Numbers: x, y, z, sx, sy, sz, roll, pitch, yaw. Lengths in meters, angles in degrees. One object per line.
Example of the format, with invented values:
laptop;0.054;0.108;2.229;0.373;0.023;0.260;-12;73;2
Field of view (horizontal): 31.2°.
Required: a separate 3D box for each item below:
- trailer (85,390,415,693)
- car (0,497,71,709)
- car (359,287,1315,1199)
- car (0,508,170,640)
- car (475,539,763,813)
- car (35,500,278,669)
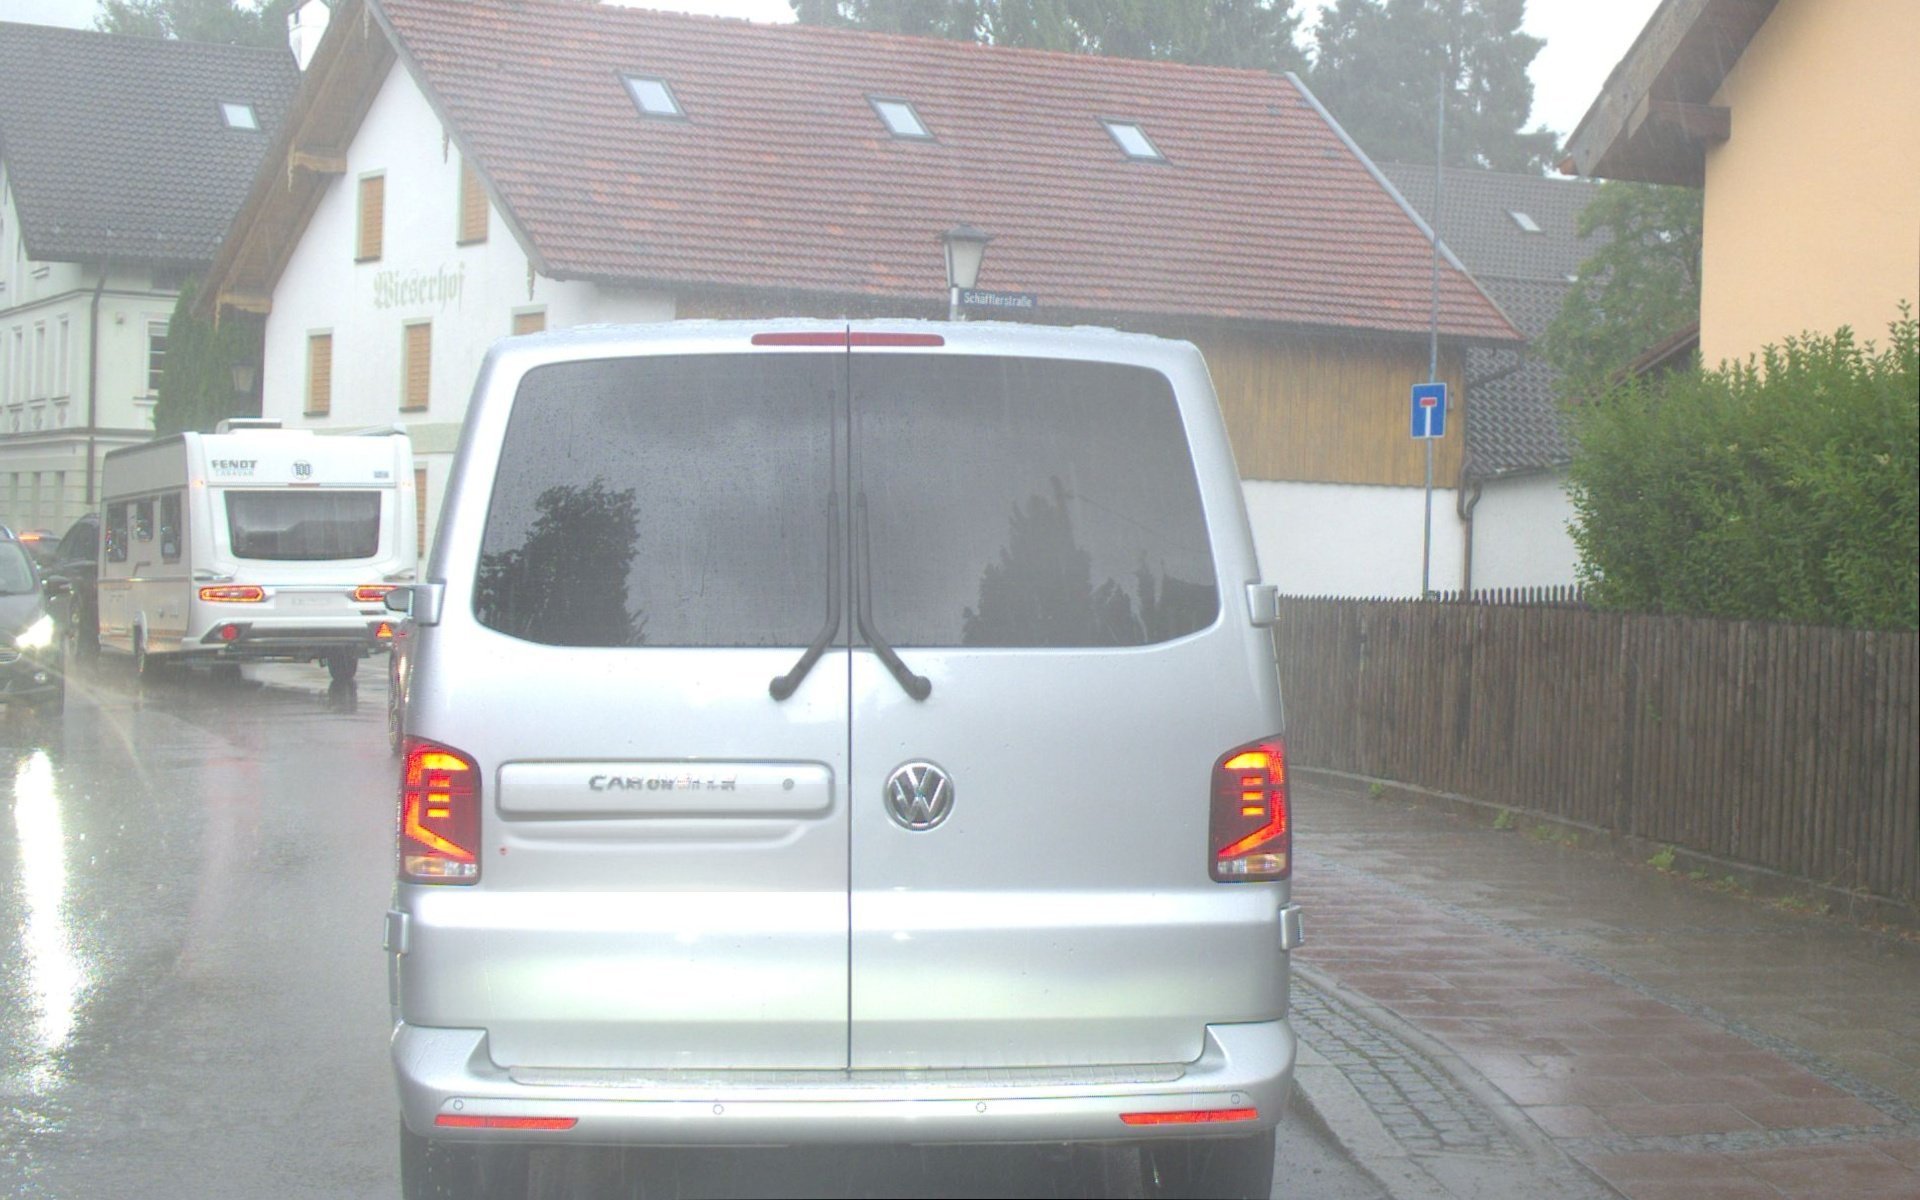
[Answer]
trailer;-7.572;-0.605;36.114;2.270;2.894;6.134;0;1;-22
car;-9.087;-0.007;30.018;1.922;1.738;4.193;-1;1;-23
car;-0.232;0.363;8.942;1.776;1.956;5.074;0;1;0
car;-13.974;-0.413;53.314;2.168;1.893;5.015;2;0;-27
car;-2.411;0.419;23.407;1.708;1.578;4.687;-1;2;-8
car;-9.742;-0.213;41.353;2.053;1.892;5.177;0;1;-22
